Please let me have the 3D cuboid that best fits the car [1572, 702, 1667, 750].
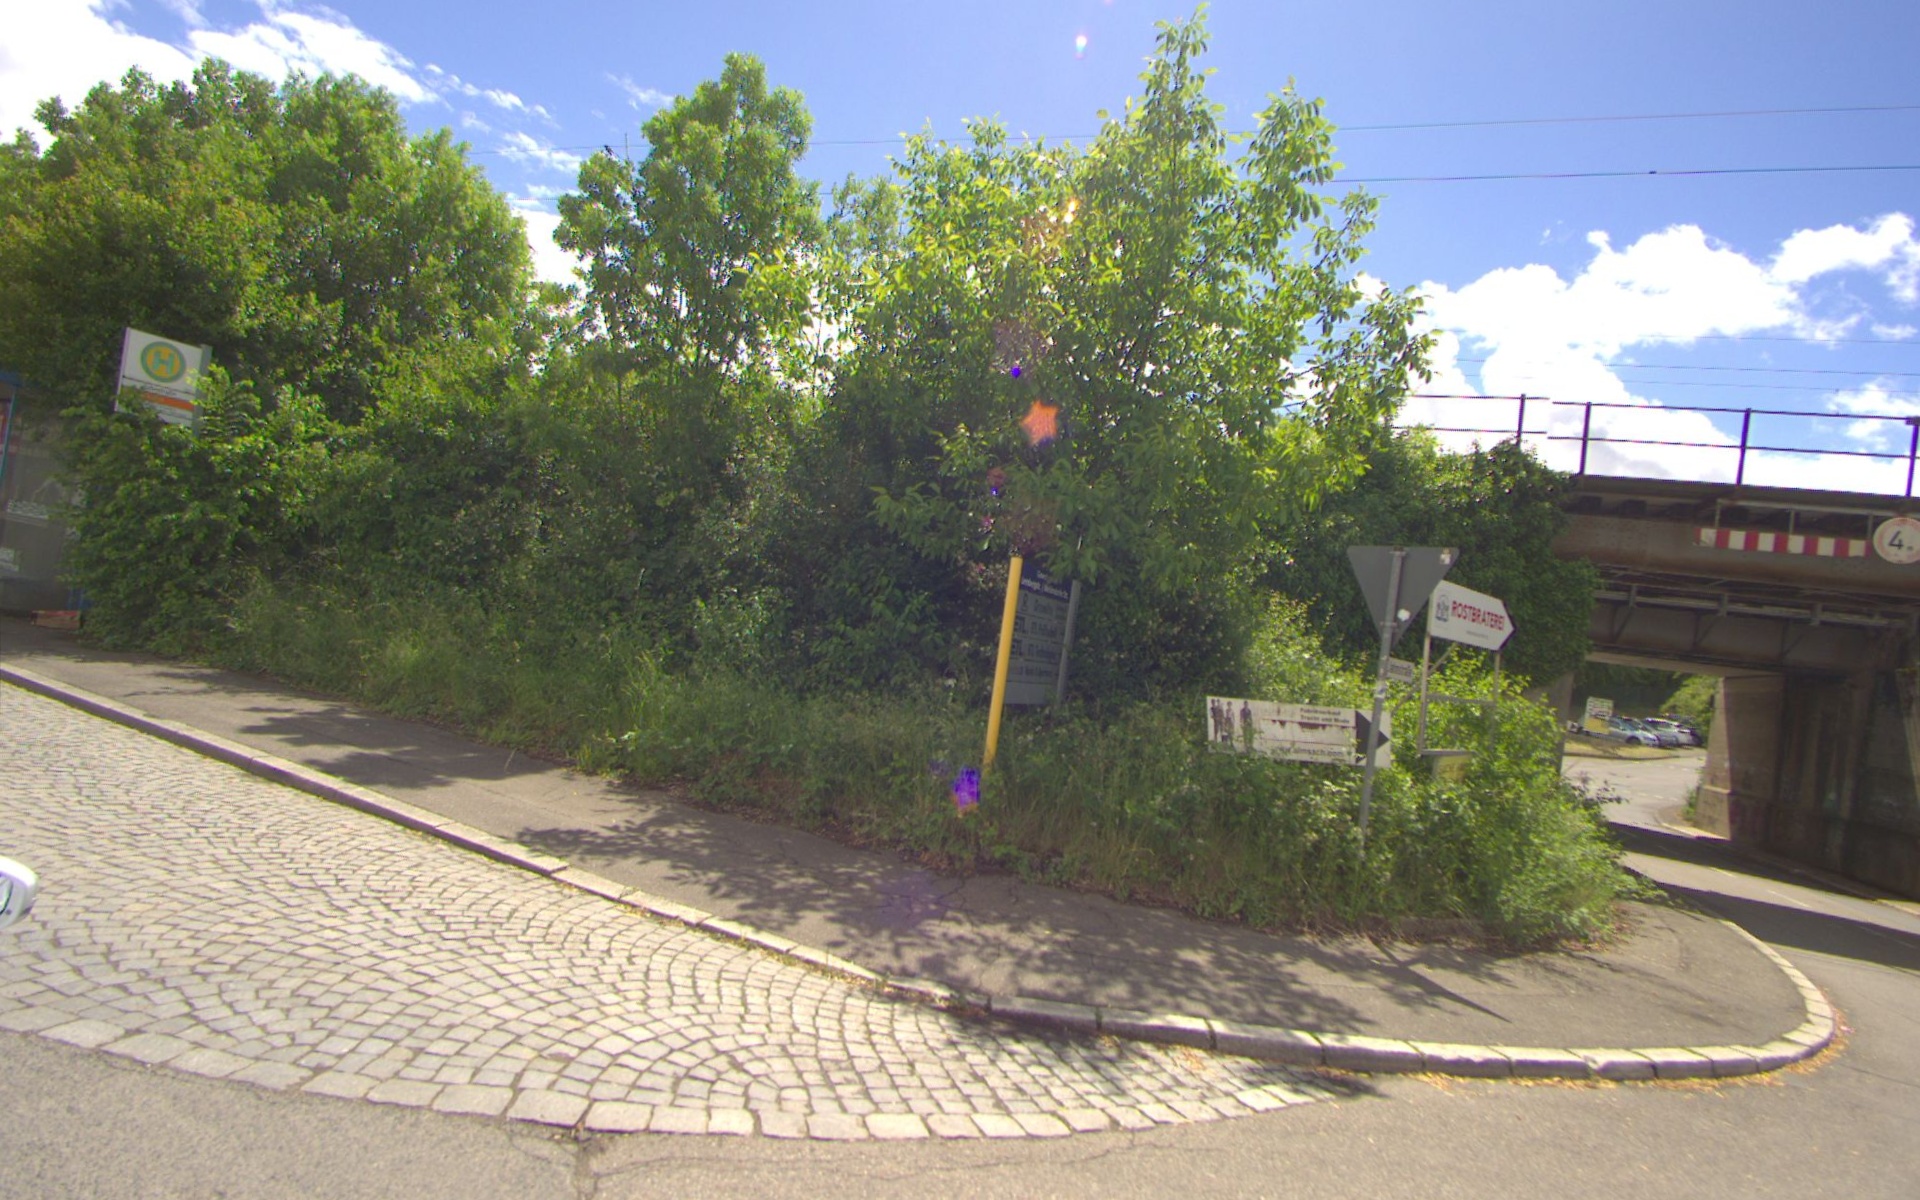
[{"bbox_3d":[37.684,7.204,57.551,1.984,2.037,3.960,9,-2,-37],"label":"car"}]
